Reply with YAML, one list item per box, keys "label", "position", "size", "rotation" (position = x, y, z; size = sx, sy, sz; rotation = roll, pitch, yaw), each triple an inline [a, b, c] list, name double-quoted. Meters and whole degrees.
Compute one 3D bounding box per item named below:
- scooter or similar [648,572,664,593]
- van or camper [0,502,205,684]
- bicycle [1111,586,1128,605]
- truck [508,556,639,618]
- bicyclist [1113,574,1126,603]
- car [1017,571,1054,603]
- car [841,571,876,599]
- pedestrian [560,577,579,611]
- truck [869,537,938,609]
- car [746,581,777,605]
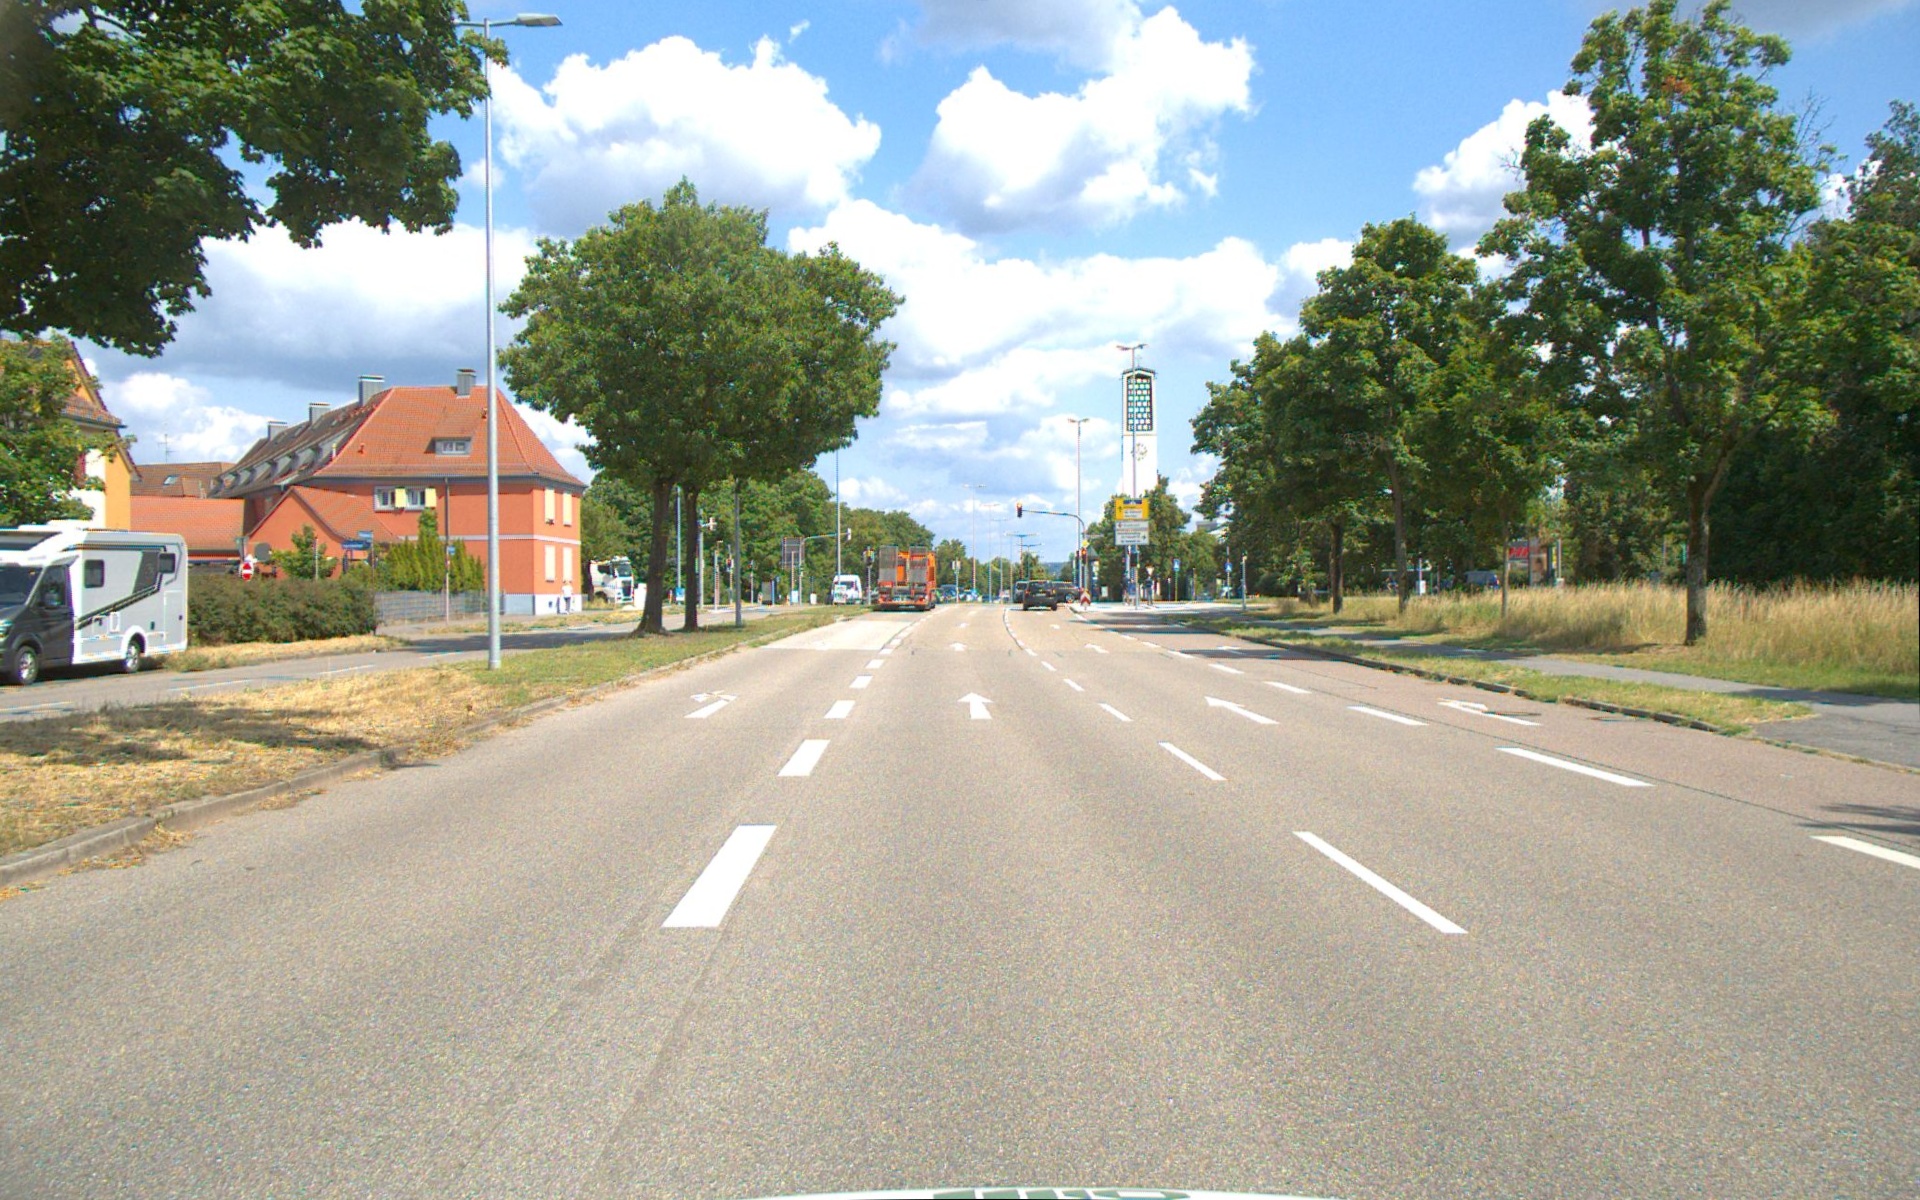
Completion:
- label: "scooter or similar"
  position: [-18.197, -1.049, 98.908]
  size: [0.577, 1.184, 1.762]
  rotation: [2, 0, 0]
- label: "van or camper"
  position: [-17.706, -0.205, 32.524]
  size: [2.212, 3.166, 7.321]
  rotation: [2, 1, 1]
- label: "bicycle"
  position: [9.671, -0.260, 100.083]
  size: [0.634, 1.127, 1.929]
  rotation: [1, 0, 16]
- label: "truck"
  position: [-27.228, -0.893, 116.665]
  size: [8.427, 4.040, 2.971]
  rotation: [2, -1, 14]
- label: "bicyclist"
  position: [9.629, -0.681, 99.899]
  size: [0.634, 1.690, 0.650]
  rotation: [1, -1, 16]
- label: "car"
  position: [4.000, -0.668, 87.830]
  size: [1.762, 1.579, 4.000]
  rotation: [2, 0, 1]
- label: "car"
  position: [-6.068, -0.865, 99.596]
  size: [1.697, 1.534, 4.653]
  rotation: [-3, 0, 1]
- label: "pedestrian"
  position: [-18.931, -0.281, 80.177]
  size: [0.681, 1.611, 0.851]
  rotation: [2, -1, 1]
- label: "truck"
  position: [-2.867, -1.300, 87.208]
  size: [3.007, 3.474, 11.068]
  rotation: [2, 0, 1]
- label: "car"
  position: [-13.743, -0.473, 114.610]
  size: [1.602, 1.511, 3.992]
  rotation: [2, 0, 1]
